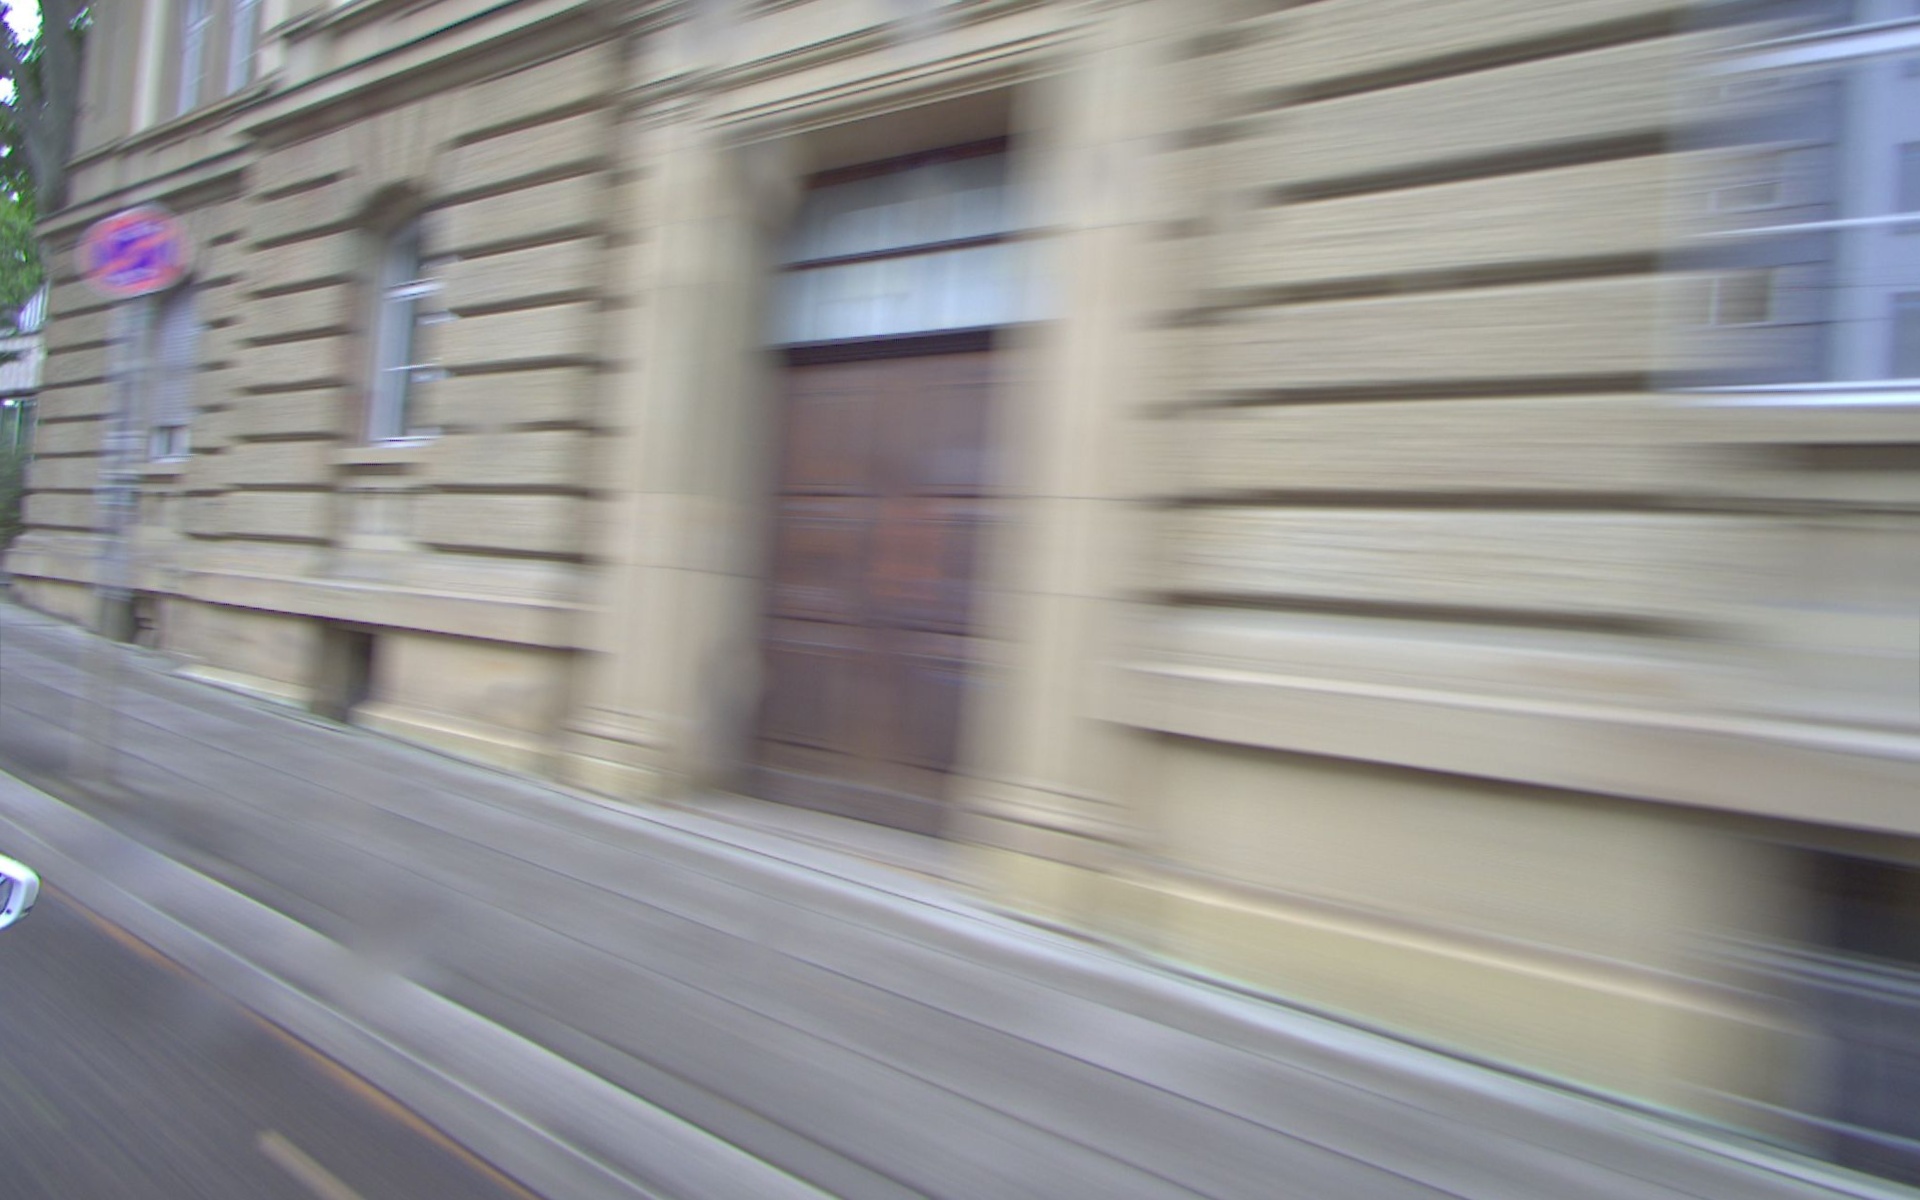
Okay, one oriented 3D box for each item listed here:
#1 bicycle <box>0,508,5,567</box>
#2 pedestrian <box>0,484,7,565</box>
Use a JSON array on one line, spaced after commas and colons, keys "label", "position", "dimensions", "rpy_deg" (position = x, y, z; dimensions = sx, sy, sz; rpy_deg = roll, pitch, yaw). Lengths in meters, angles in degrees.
[{"label": "bicycle", "position": [-20.907, -1.375, 21.520], "dimensions": [0.899, 1.236, 0.617], "rpy_deg": [6, 2, 45]}, {"label": "pedestrian", "position": [-21.556, -1.707, 22.168], "dimensions": [1.006, 1.765, 0.715], "rpy_deg": [7, 3, 44]}]
